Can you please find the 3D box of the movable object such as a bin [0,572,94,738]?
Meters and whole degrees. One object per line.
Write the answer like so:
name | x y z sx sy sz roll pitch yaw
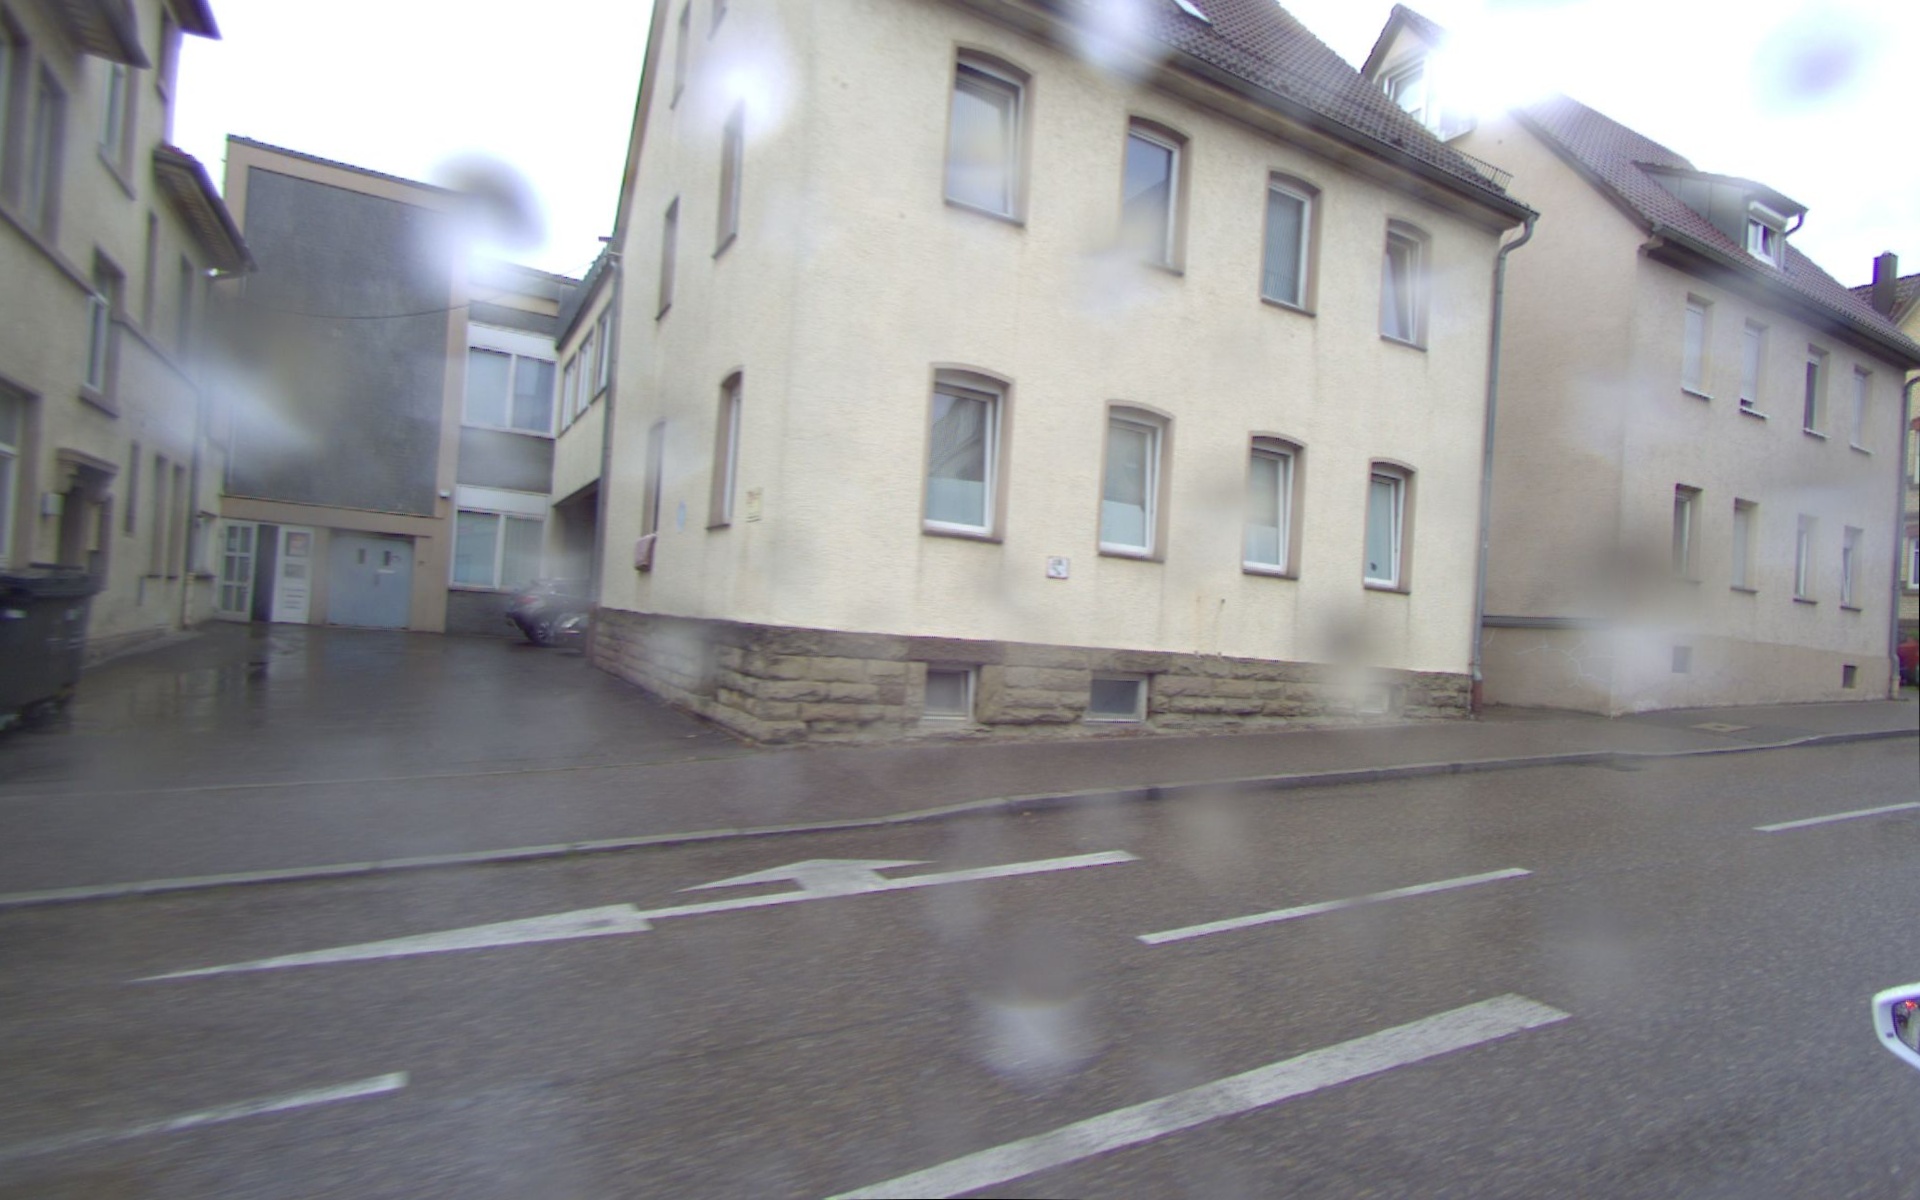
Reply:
movable object such as a bin | -7.987 0.416 8.276 1.038 1.283 1.273 1 1 -30

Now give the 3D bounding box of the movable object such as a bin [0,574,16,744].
movable object such as a bin | -7.511 0.440 7.019 1.038 1.283 1.273 1 1 -30

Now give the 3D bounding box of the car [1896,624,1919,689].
car | 24.737 1.410 24.332 3.832 1.523 1.764 1 1 -27

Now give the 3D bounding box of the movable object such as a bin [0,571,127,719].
movable object such as a bin | -8.630 0.388 9.414 1.038 1.283 1.273 1 1 -30

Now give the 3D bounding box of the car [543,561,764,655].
car | -6.247 0.207 20.577 3.956 1.756 1.982 1 -1 -33

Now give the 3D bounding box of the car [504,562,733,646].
car | -7.875 0.152 23.293 4.739 1.756 1.984 1 -1 -31

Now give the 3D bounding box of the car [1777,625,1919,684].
car | 23.902 1.431 26.920 3.835 1.385 1.763 1 1 -29
